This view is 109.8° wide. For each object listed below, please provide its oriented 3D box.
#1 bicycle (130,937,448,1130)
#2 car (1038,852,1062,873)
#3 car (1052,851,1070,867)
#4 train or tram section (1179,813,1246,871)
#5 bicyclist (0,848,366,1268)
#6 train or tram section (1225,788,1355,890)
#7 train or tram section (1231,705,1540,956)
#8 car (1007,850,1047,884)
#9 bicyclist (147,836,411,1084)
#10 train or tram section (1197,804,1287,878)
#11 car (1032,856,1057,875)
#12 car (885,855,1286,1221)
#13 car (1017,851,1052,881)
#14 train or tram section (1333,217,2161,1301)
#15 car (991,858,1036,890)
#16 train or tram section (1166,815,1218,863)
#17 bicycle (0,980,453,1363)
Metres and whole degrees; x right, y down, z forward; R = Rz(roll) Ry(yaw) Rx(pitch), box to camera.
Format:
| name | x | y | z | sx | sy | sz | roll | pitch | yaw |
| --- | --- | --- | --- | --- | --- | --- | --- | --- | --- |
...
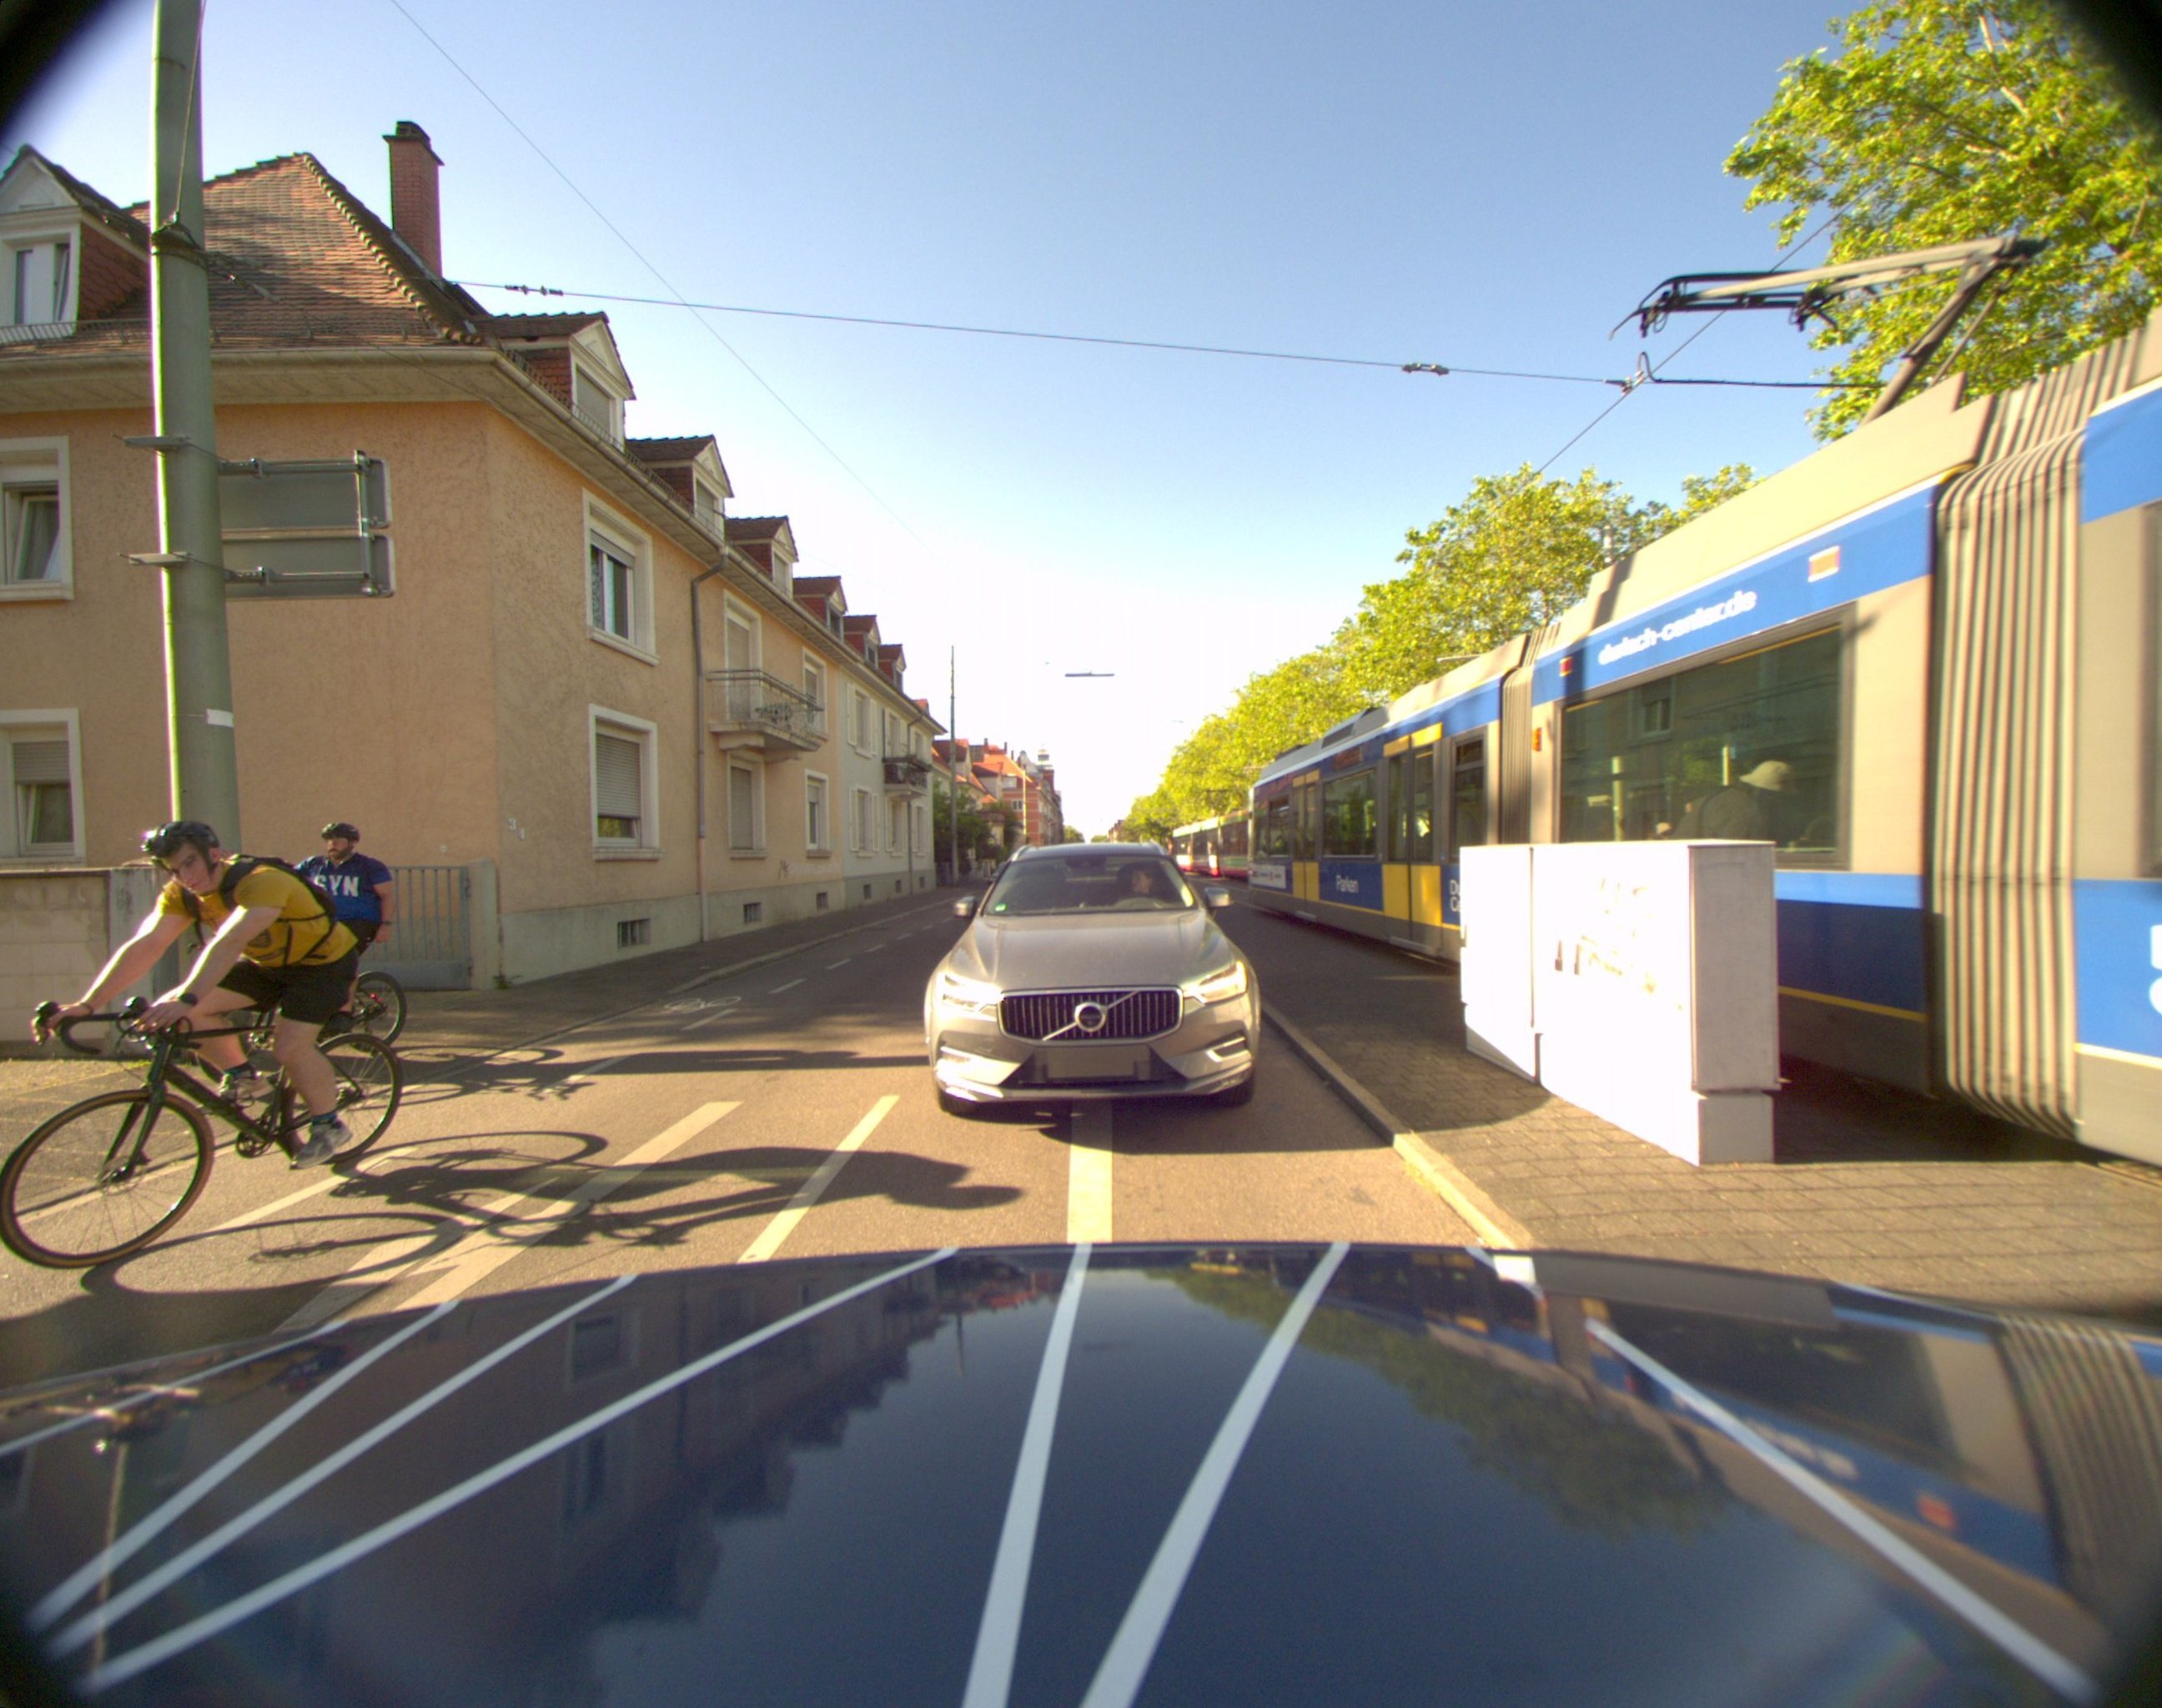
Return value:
| name | x | y | z | sx | sy | sz | roll | pitch | yaw |
| --- | --- | --- | --- | --- | --- | --- | --- | --- | --- |
| bicycle | -5.931 | 1.276 | 5.861 | 0.594 | 1.045 | 1.719 | 4 | 1 | 1 |
| car | -2.672 | 0.693 | 65.789 | 1.847 | 1.681 | 4.000 | -1 | 0 | 0 |
| car | -2.240 | 0.549 | 85.503 | 1.999 | 1.641 | 4.658 | -1 | 0 | -1 |
| train or tram section | 8.766 | -0.811 | 51.922 | 2.843 | 3.456 | 10.182 | -2 | 1 | 1 |
| bicyclist | -4.141 | 0.835 | 3.579 | 0.582 | 1.712 | 0.955 | -1 | 1 | 1 |
| train or tram section | 8.269 | -0.583 | 31.639 | 2.861 | 3.456 | 10.183 | -2 | 1 | 2 |
| train or tram section | 5.077 | -0.334 | 14.681 | 2.821 | 3.479 | 7.962 | -1 | 0 | 1 |
| car | -2.962 | 0.683 | 42.342 | 1.847 | 1.742 | 4.144 | -1 | 0 | 0 |
| bicyclist | -6.172 | 0.762 | 5.913 | 1.071 | 1.728 | 0.853 | 4 | 1 | 1 |
| train or tram section | 8.570 | -0.683 | 41.807 | 2.843 | 3.456 | 10.182 | -2 | 1 | 1 |
| car | -2.876 | 0.858 | 60.425 | 1.808 | 1.402 | 3.999 | -1 | 0 | -1 |
| car | 0.003 | 0.885 | 5.807 | 1.892 | 1.695 | 4.318 | -1 | 0 | -1 |
| car | -2.806 | 0.700 | 46.720 | 1.847 | 1.681 | 4.000 | -1 | 0 | 0 |
| train or tram section | 4.947 | -0.324 | 6.504 | 2.821 | 3.479 | 8.462 | -1 | 0 | 1 |
| car | -3.227 | 0.944 | 36.996 | 1.847 | 1.412 | 3.999 | -1 | 0 | -1 |
| train or tram section | 8.899 | -1.185 | 62.091 | 2.843 | 3.456 | 10.182 | -2 | 1 | 1 |
| bicycle | -4.106 | 1.306 | 3.657 | 0.611 | 1.081 | 1.809 | -1 | 1 | 1 |
